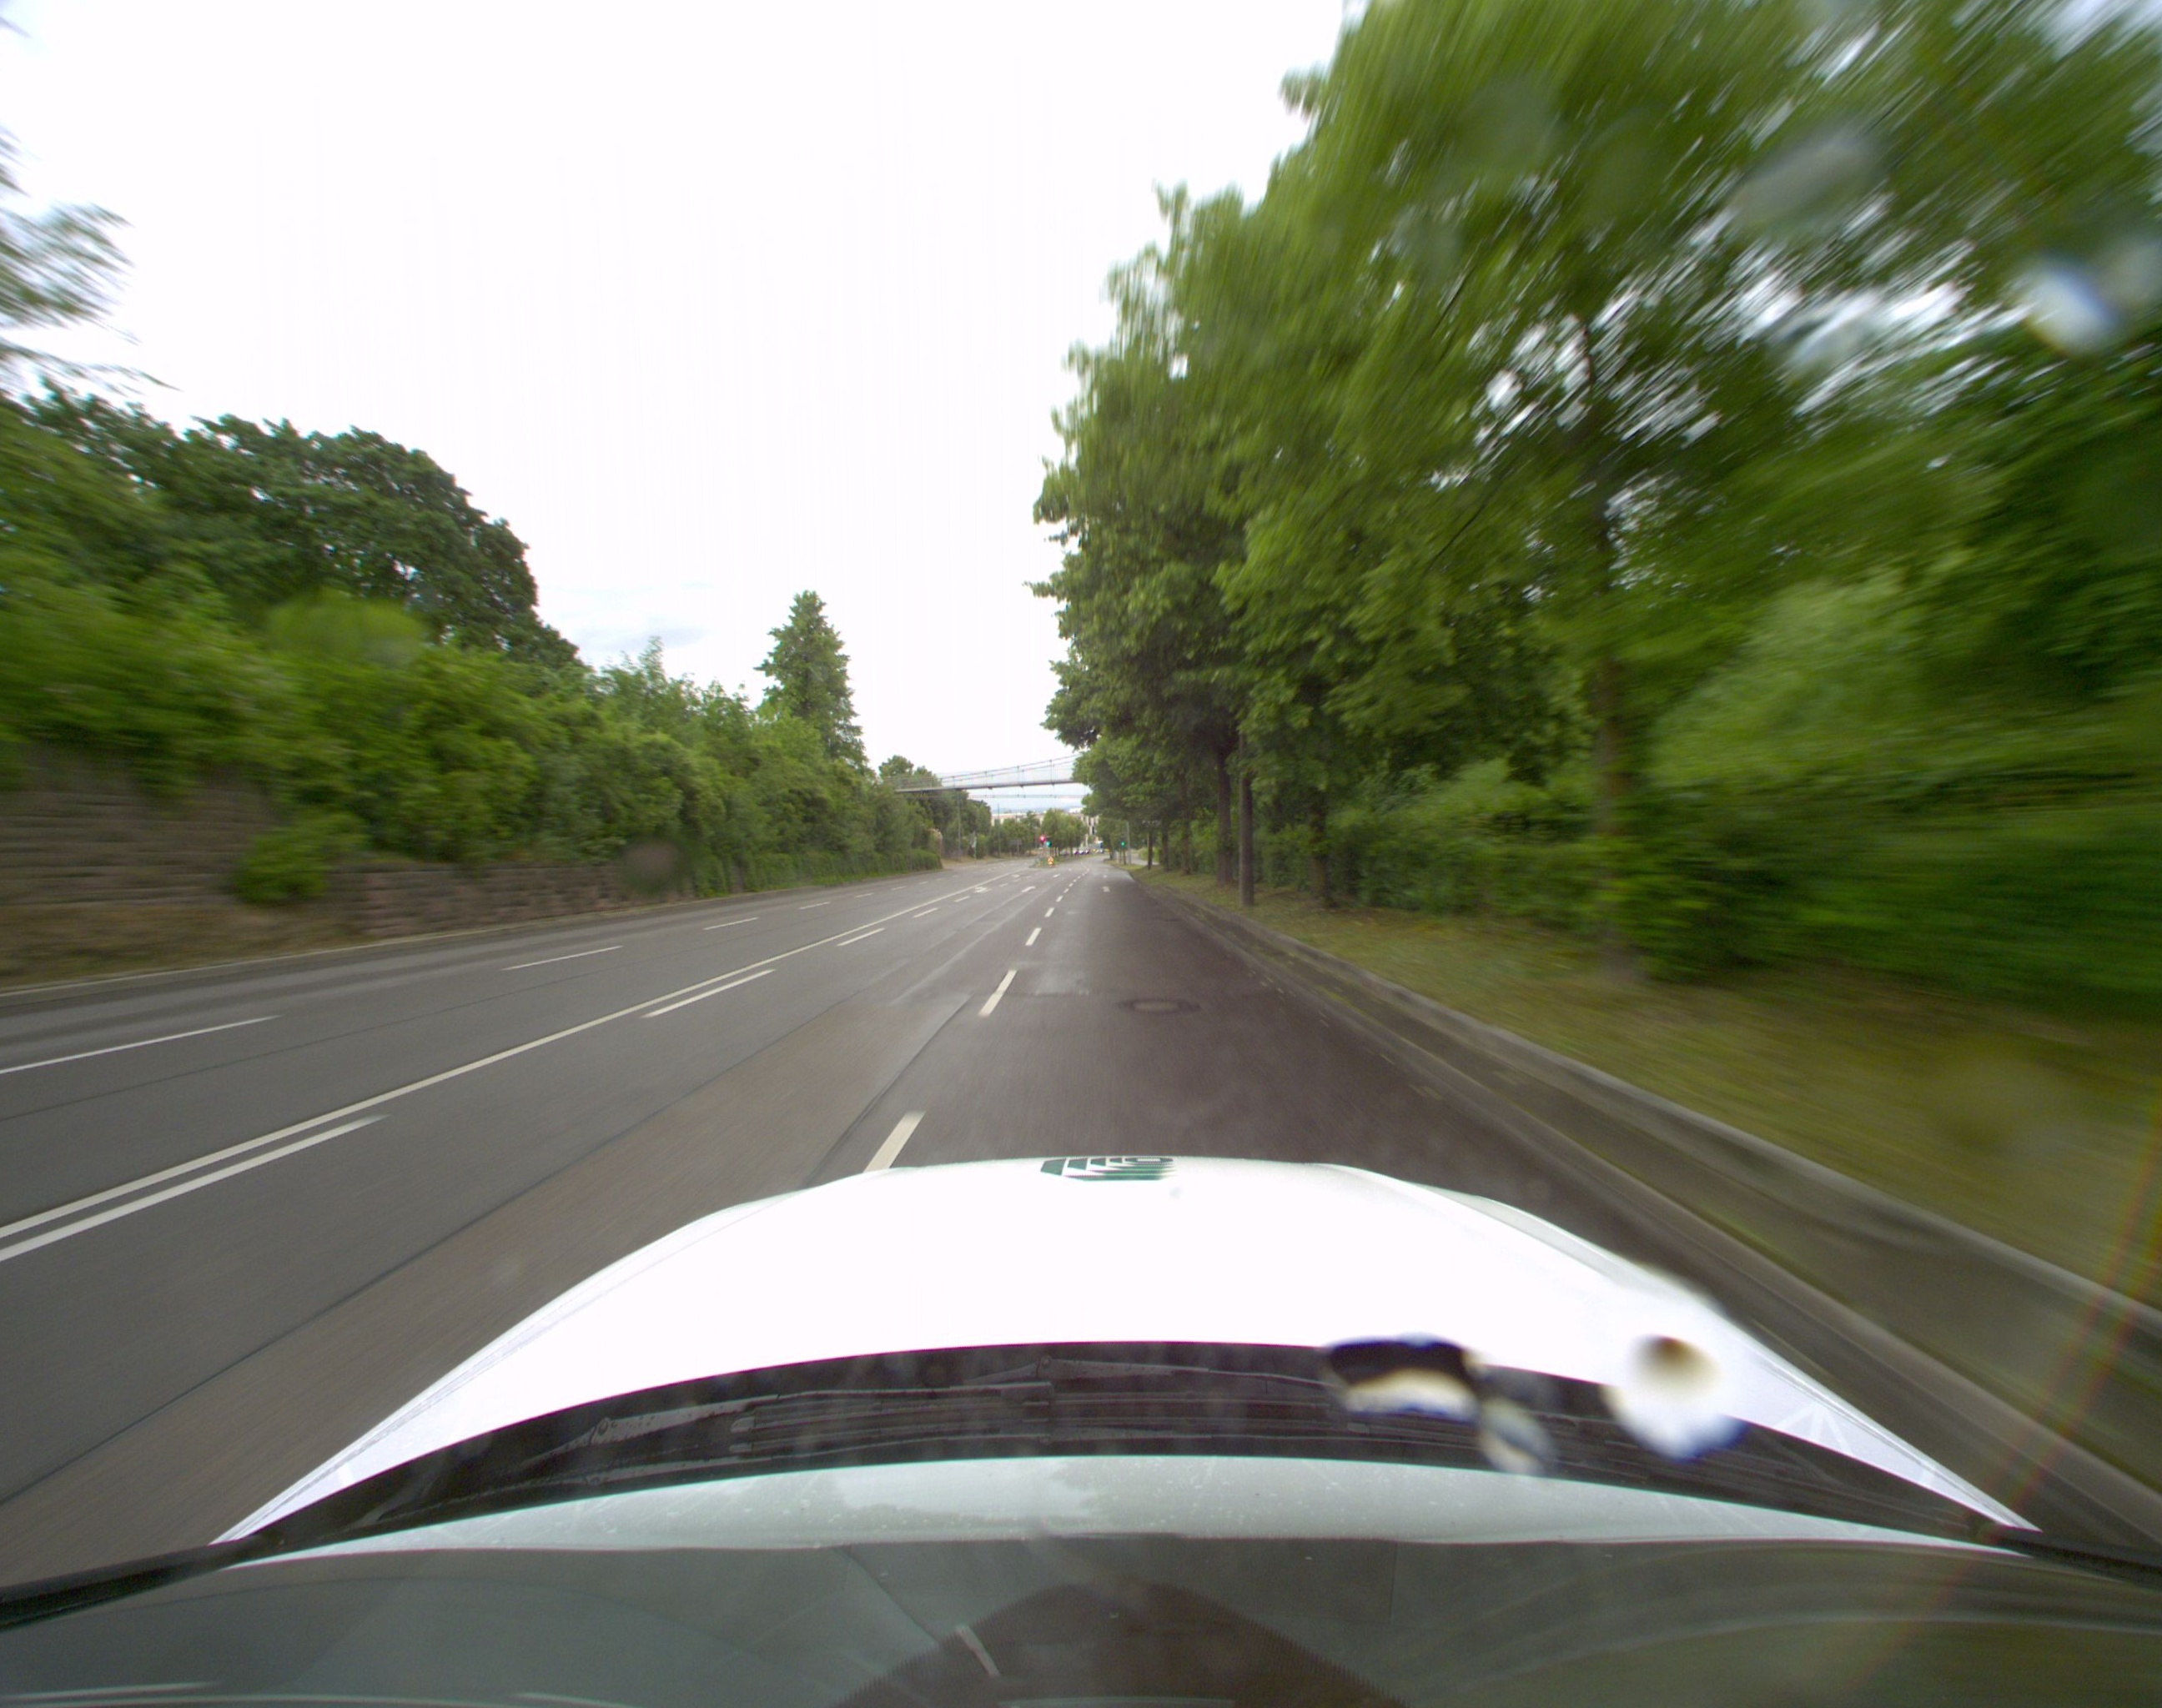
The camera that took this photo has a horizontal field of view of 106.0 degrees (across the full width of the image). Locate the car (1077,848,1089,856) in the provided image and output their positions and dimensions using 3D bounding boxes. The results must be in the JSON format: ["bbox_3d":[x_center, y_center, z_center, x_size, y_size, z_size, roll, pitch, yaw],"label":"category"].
[{"bbox_3d":[0.430,-0.503,205.217,2.000,1.919,5.112,0,0,12],"label":"car"}]

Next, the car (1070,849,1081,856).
[{"bbox_3d":[-1.434,-0.402,209.418,1.868,1.595,4.784,1,0,14],"label":"car"}]

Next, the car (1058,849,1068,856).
[{"bbox_3d":[-4.296,-0.382,194.649,1.588,1.489,4.013,0,0,11],"label":"car"}]
